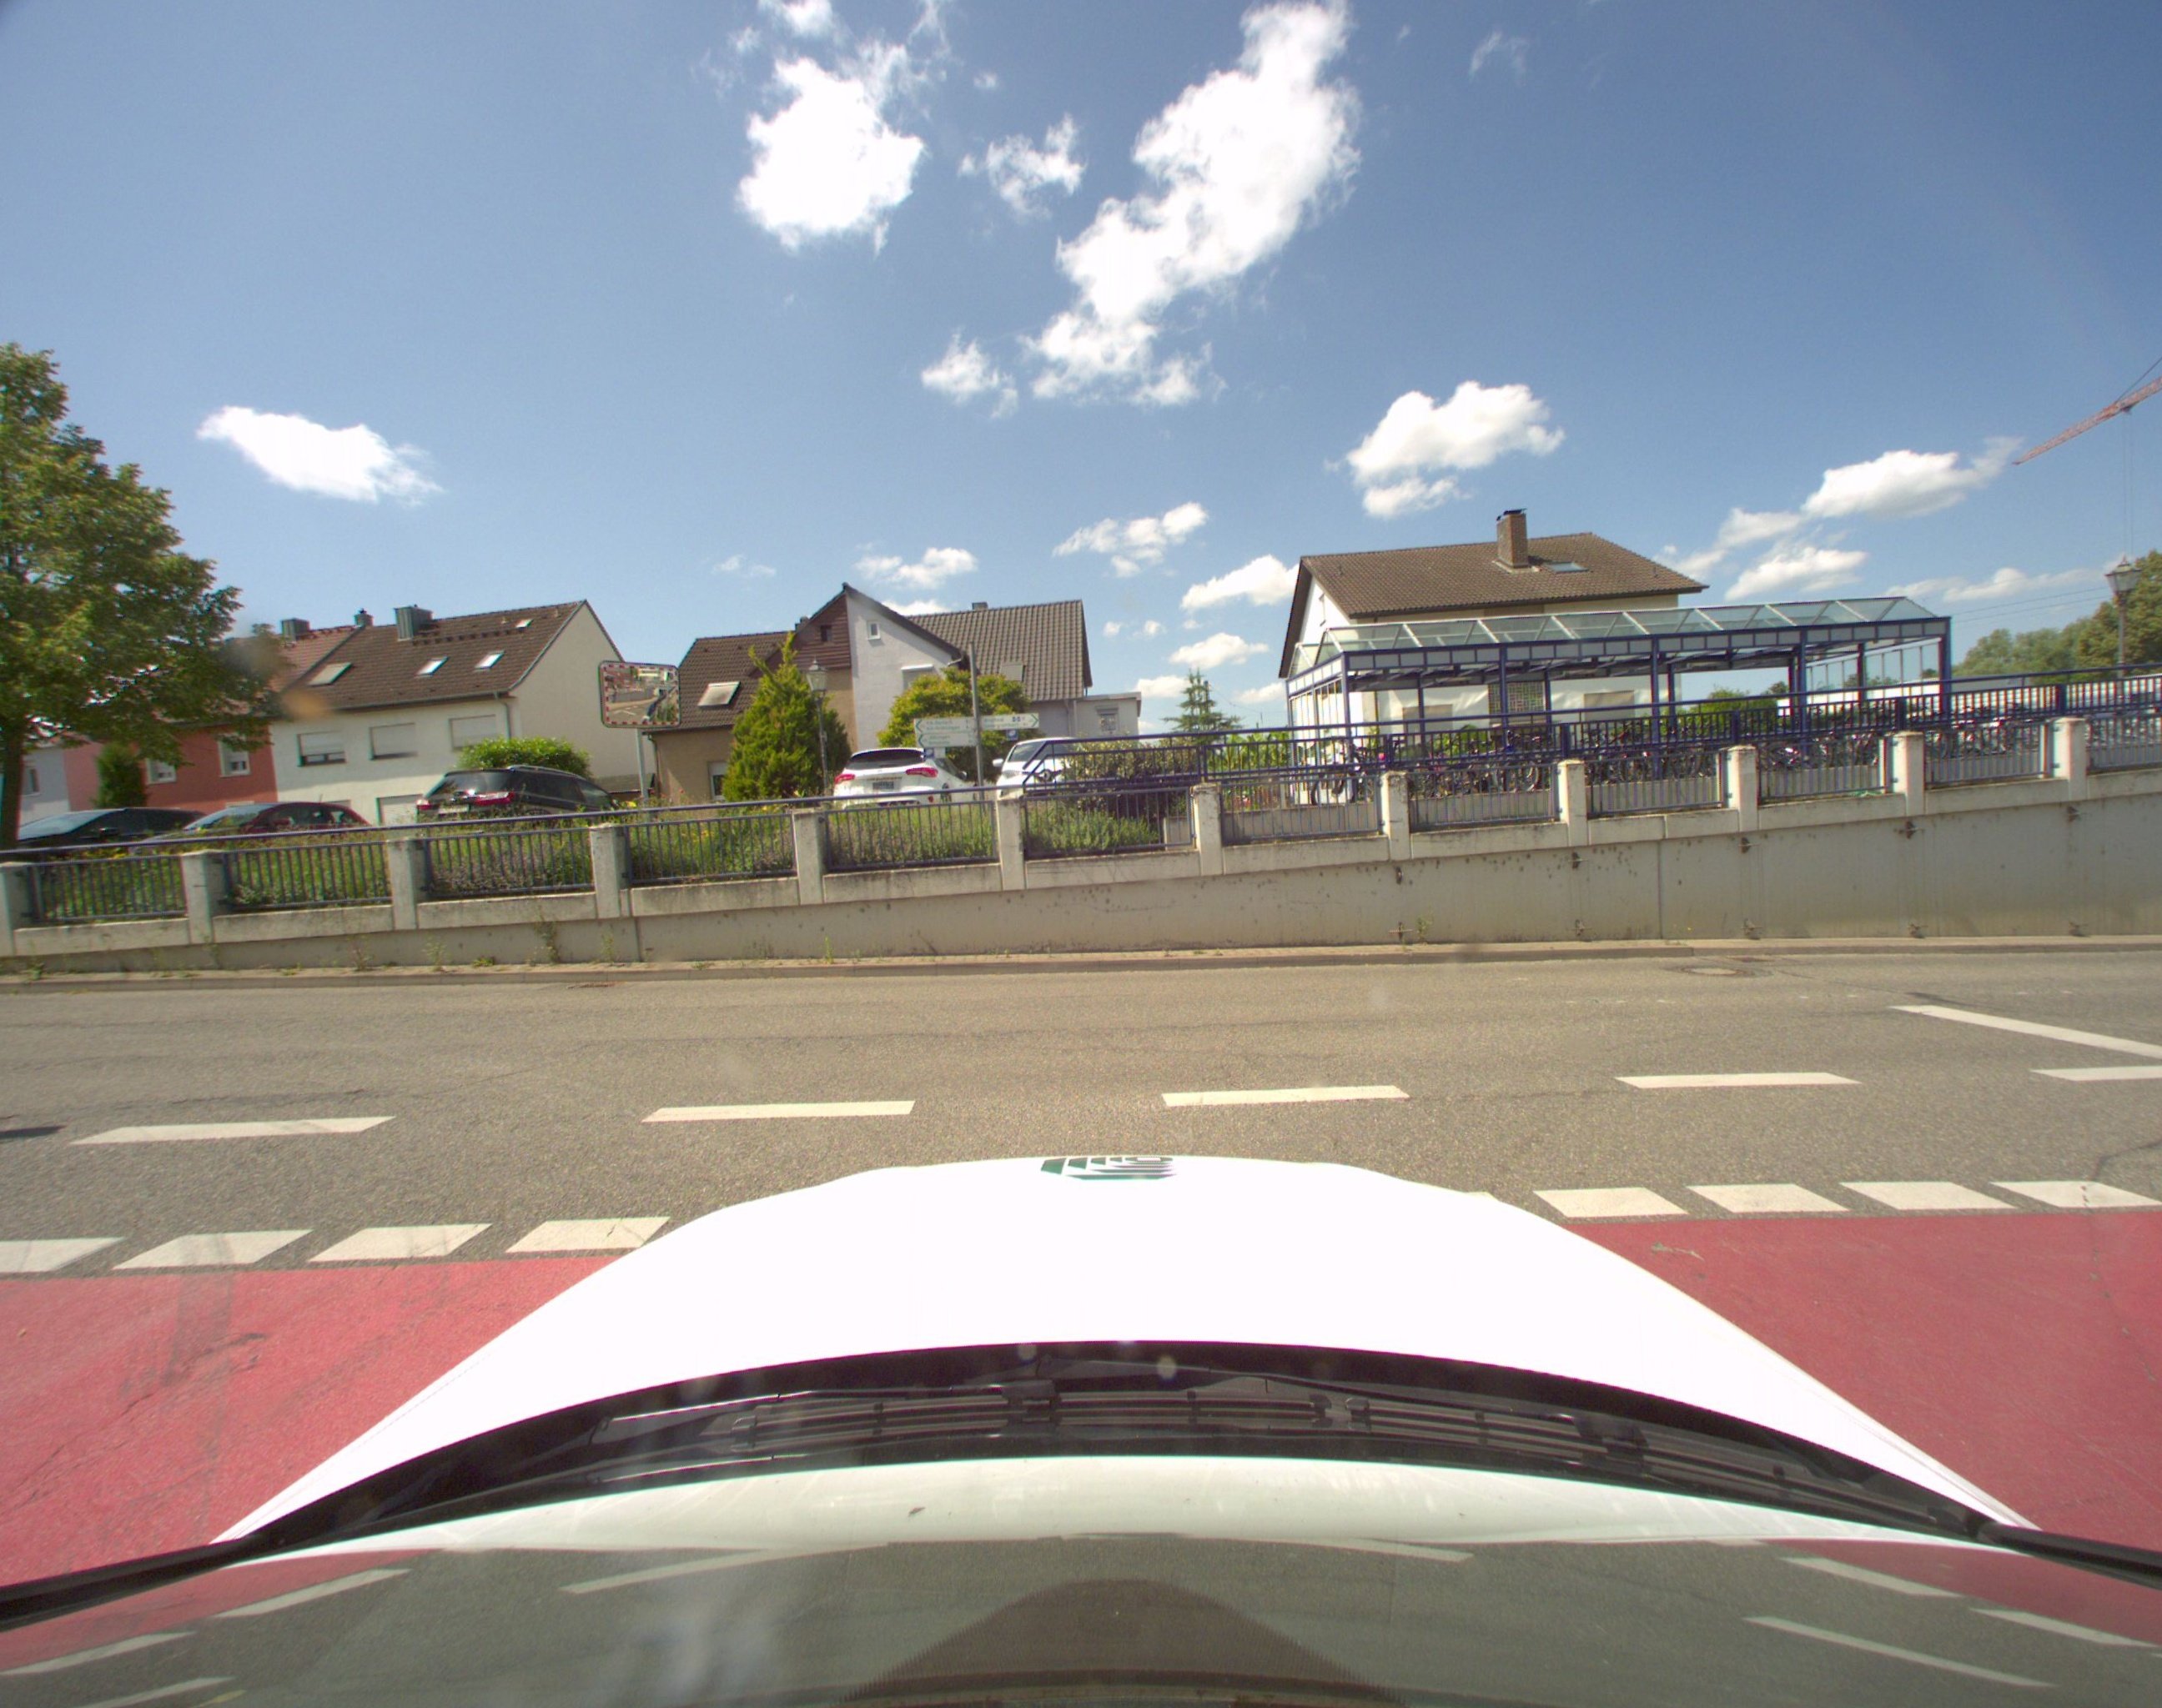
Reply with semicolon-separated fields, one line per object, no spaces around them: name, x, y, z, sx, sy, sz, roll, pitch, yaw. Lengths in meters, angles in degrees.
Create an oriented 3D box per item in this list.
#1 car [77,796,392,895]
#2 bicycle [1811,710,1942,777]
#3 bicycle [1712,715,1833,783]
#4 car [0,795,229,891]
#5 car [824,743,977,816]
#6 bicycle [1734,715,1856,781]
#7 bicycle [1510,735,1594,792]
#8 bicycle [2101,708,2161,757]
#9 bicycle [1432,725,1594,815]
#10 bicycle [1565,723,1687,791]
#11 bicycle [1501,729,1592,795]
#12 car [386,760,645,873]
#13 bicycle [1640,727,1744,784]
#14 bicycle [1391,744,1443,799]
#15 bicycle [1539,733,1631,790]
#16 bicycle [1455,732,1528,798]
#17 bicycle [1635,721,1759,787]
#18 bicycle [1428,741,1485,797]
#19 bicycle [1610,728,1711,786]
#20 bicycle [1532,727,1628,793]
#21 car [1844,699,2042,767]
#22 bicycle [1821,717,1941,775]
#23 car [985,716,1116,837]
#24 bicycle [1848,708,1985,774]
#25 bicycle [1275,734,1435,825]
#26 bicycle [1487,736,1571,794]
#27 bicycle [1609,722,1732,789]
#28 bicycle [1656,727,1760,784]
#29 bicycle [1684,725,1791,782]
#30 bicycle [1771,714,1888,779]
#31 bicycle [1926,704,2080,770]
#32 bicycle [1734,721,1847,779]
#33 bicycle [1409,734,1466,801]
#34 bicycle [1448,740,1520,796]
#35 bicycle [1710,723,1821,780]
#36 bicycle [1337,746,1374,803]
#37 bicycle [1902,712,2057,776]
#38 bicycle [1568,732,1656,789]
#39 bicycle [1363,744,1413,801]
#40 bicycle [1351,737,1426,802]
car;-15.065;-0.164;14.826;1.860;1.586;3.611;0;1;2
bicycle;14.241;-1.949;14.662;0.513;0.994;2.043;-3;3;6
bicycle;12.065;-1.803;14.307;0.575;0.994;2.195;-3;3;10
car;-18.840;-0.203;15.253;1.860;1.586;3.611;0;1;2
car;-3.036;-1.248;14.429;1.818;1.019;3.461;0;1;2
bicycle;12.803;-1.865;14.689;0.513;0.994;2.042;-3;3;4
bicycle;9.414;-1.781;16.359;0.413;0.994;1.963;-3;3;-4
bicycle;23.787;-2.700;17.726;0.509;0.994;2.022;-4;3;-7
bicycle;6.071;-1.177;11.461;2.111;1.125;0.392;-4;3;-5
bicycle;9.433;-1.642;14.211;0.531;0.994;2.280;-3;3;-1
bicycle;8.085;-1.565;14.251;0.433;0.994;2.285;-3;3;5
car;-10.090;-0.625;14.995;1.860;1.797;4.002;0;1;2
bicycle;12.278;-1.954;16.447;0.518;0.994;1.963;-3;3;-4
bicycle;6.726;-1.623;16.391;0.371;0.994;1.969;-3;3;5
bicycle;10.124;-1.827;16.437;0.518;0.994;1.963;-3;3;-4
bicycle;6.984;-1.485;13.949;0.433;0.994;2.107;-3;3;8
bicycle;11.070;-1.765;14.740;0.531;0.994;2.187;-3;3;-1
bicycle;7.459;-1.659;16.234;0.371;0.994;1.969;-3;3;5
bicycle;11.551;-1.905;16.320;0.518;0.994;1.963;-3;3;-4
bicycle;8.666;-1.599;14.259;0.433;0.994;2.285;-3;3;5
car;27.539;-3.829;26.235;1.992;1.677;3.990;-4;3;-8
bicycle;16.418;-2.182;16.785;0.541;0.994;2.041;-3;3;3
car;-0.393;-1.215;14.407;1.986;1.797;4.199;0;1;2
bicycle;15.053;-2.002;14.758;0.541;0.994;2.043;-3;3;6
bicycle;3.781;-1.031;11.249;2.111;1.125;0.332;-4;3;-5
bicycle;8.939;-1.752;16.341;0.472;0.994;1.963;-3;3;-4
bicycle;10.394;-1.712;14.469;0.531;0.994;2.187;-3;3;-1
bicycle;12.823;-2.001;16.744;0.518;0.994;1.963;-3;3;-4
bicycle;13.434;-2.038;16.745;0.518;0.994;1.963;-3;3;-4
bicycle;13.499;-1.910;14.773;0.512;0.994;2.045;-3;3;9
bicycle;16.965;-2.130;15.061;0.542;0.994;2.039;-3;3;0
bicycle;14.569;-2.107;16.795;0.518;0.994;1.963;-3;3;-4
bicycle;5.970;-1.413;13.722;0.432;0.994;2.110;-3;3;12
bicycle;8.090;-1.705;16.422;0.425;0.994;1.965;-3;3;-1
bicycle;14.021;-2.073;16.756;0.518;0.994;1.963;-3;3;-4
bicycle;5.303;-1.508;15.775;0.452;0.994;1.895;-3;3;13
bicycle;16.857;-2.039;15.371;0.435;0.994;2.159;-3;3;-4
bicycle;10.787;-1.874;16.608;0.518;0.994;1.799;-3;3;-4
bicycle;5.987;-1.558;15.952;0.371;0.994;1.969;-3;3;5
bicycle;5.282;-1.426;14.125;0.331;0.994;2.073;-3;3;-4
